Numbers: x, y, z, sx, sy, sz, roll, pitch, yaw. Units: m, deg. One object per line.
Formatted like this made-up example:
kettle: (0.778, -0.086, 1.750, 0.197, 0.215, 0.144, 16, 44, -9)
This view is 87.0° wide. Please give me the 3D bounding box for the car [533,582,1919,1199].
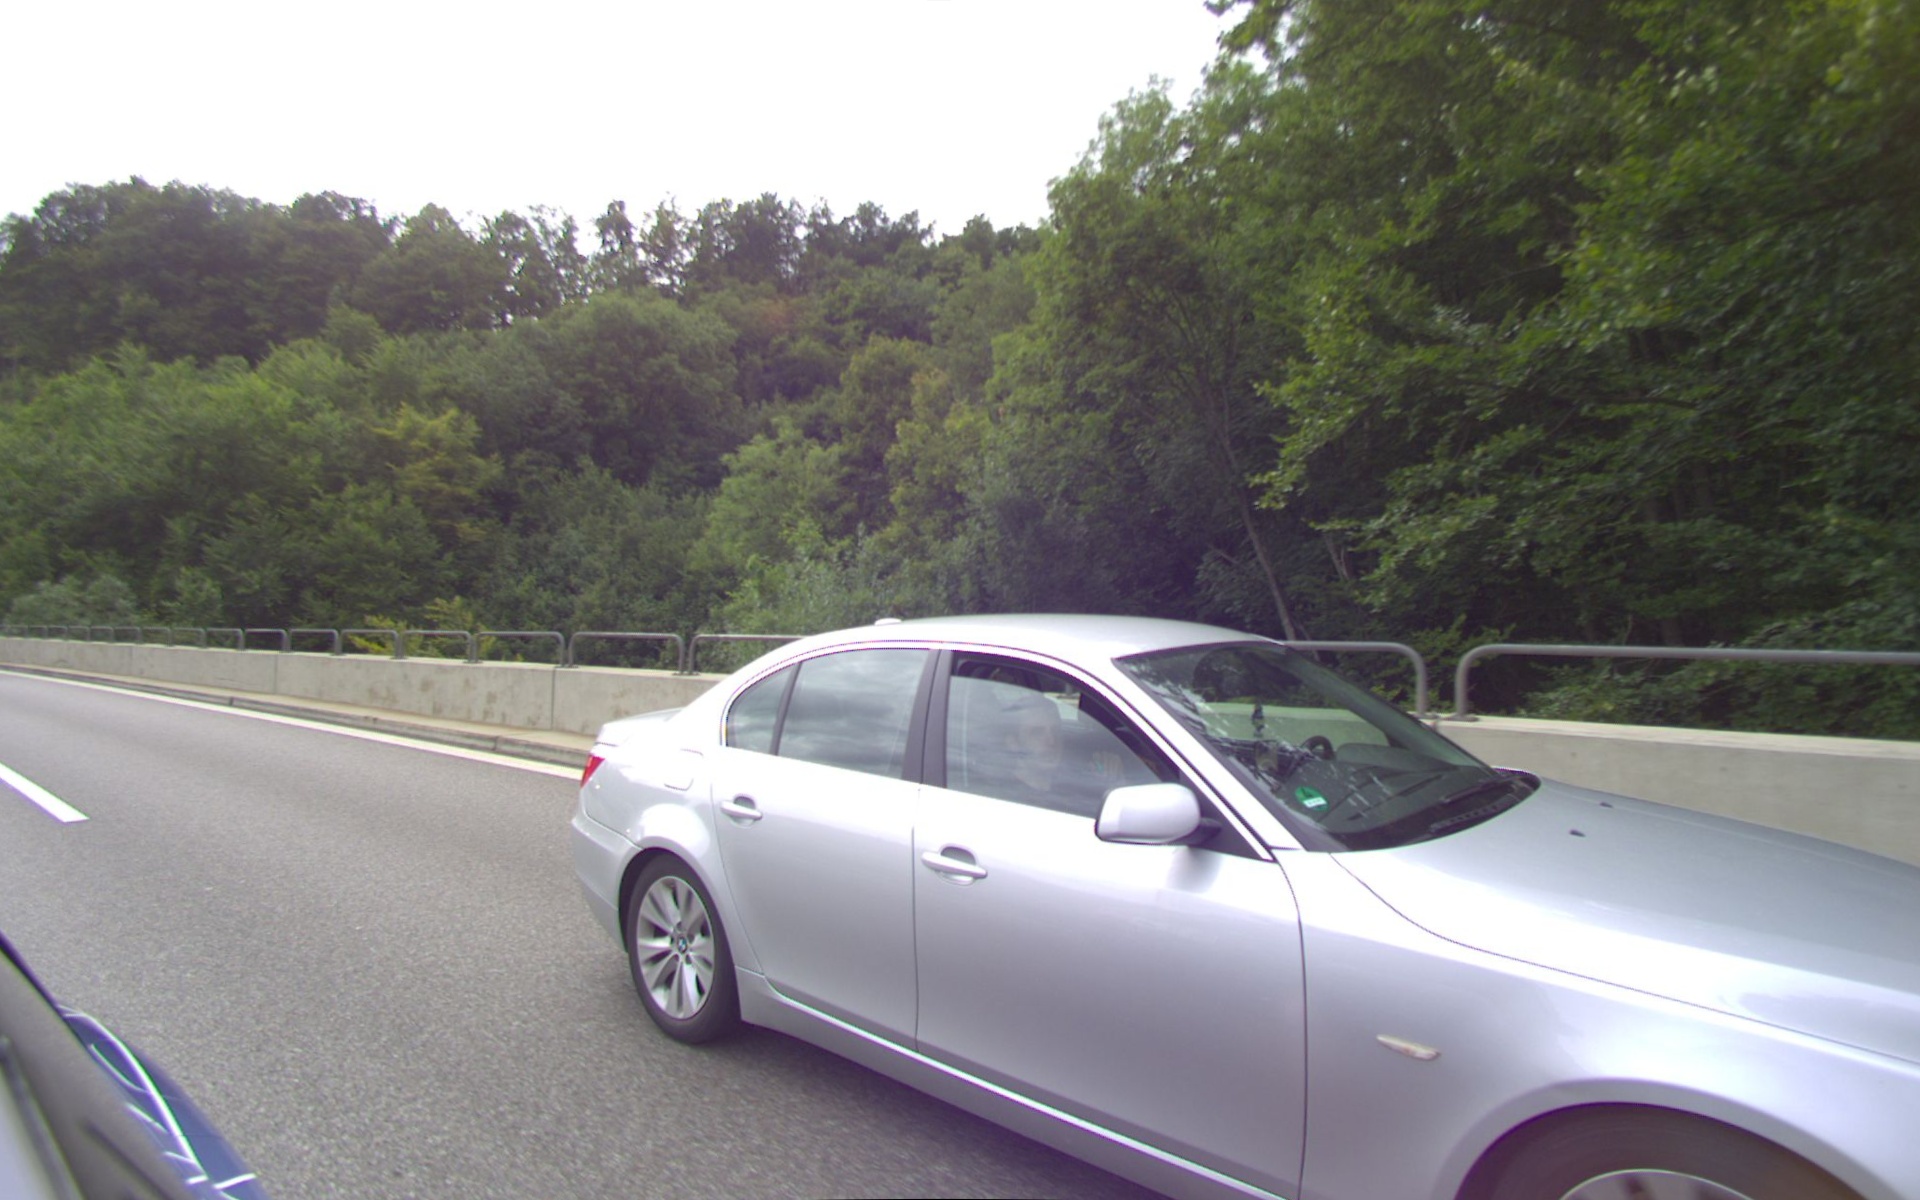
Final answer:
car: (0.797, 0.727, 3.023, 5.133, 1.468, 1.809, -1, -1, 42)
